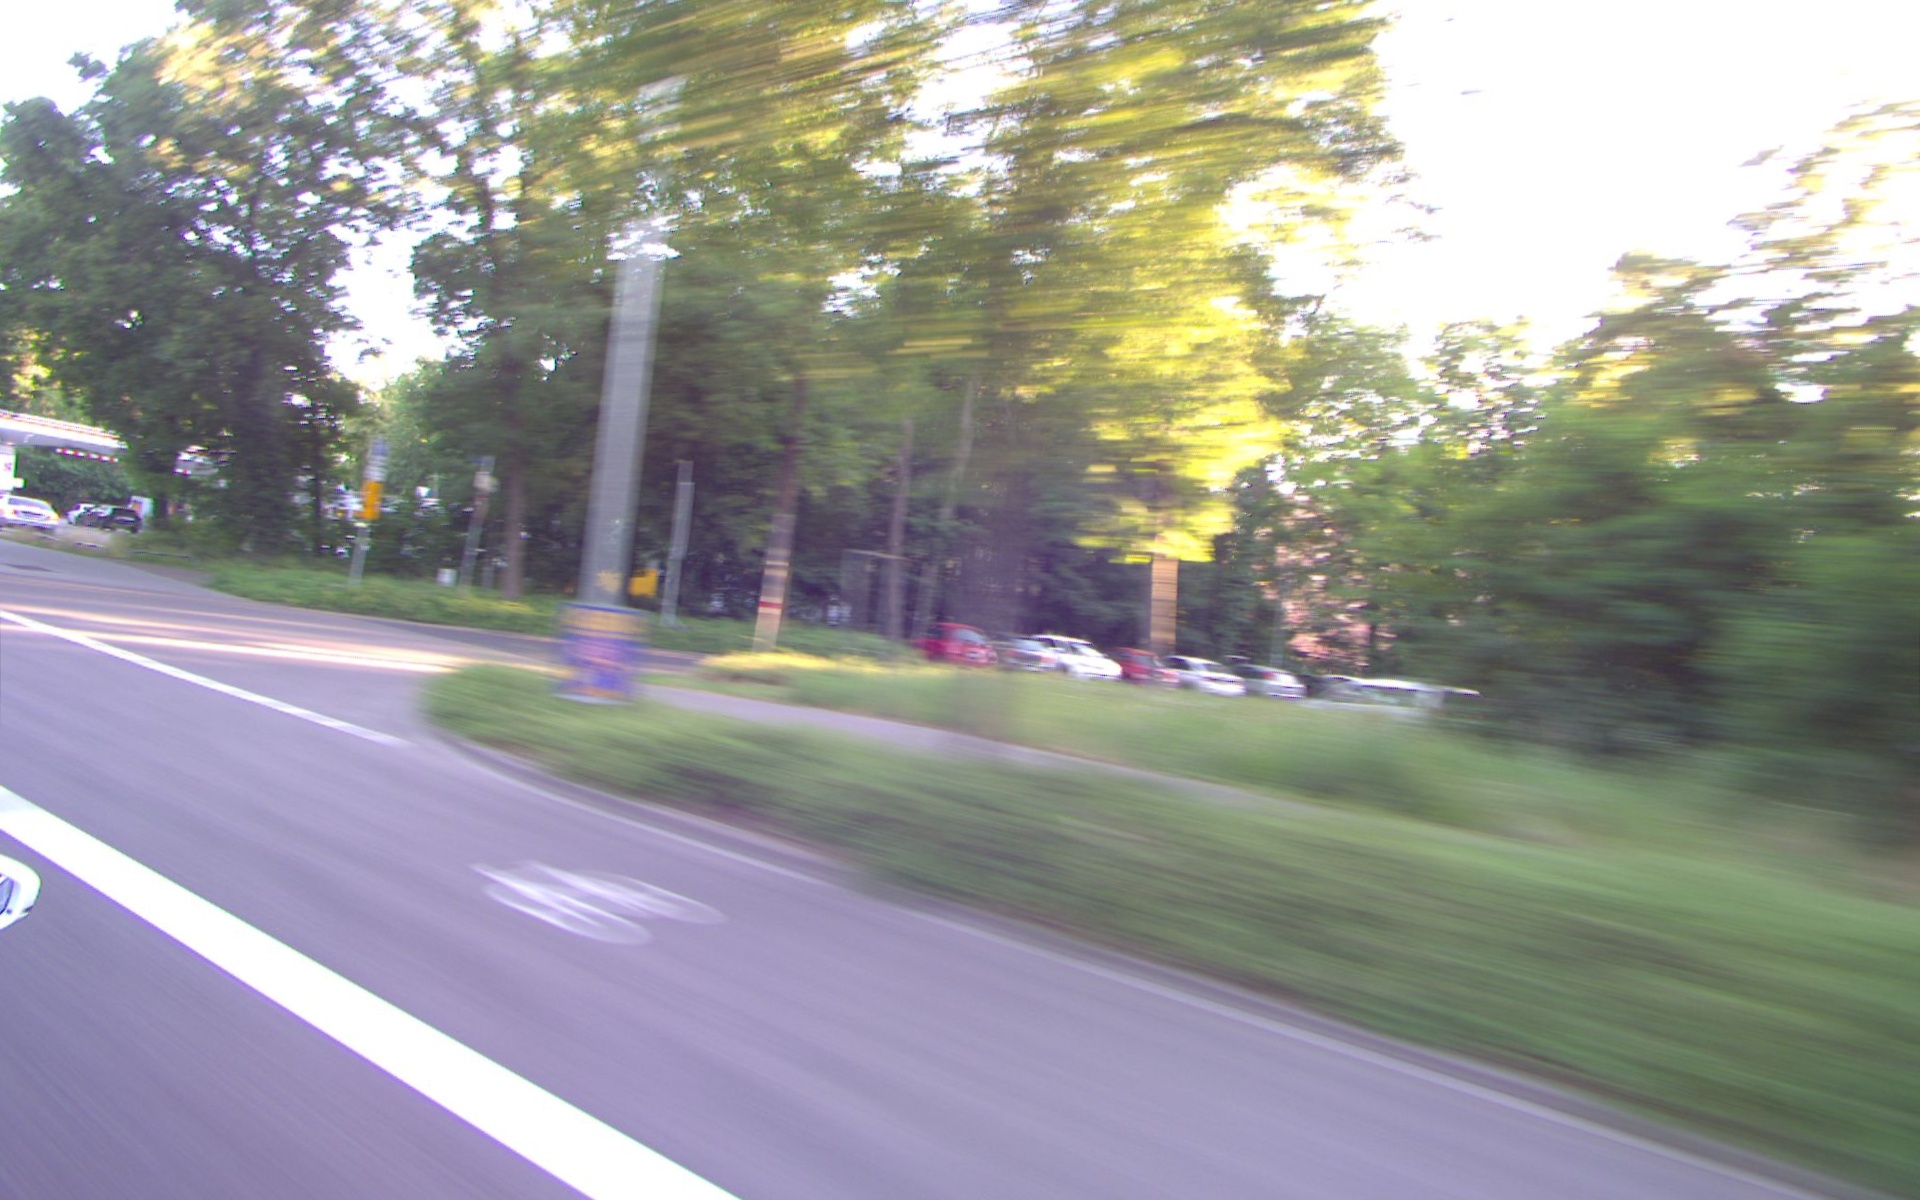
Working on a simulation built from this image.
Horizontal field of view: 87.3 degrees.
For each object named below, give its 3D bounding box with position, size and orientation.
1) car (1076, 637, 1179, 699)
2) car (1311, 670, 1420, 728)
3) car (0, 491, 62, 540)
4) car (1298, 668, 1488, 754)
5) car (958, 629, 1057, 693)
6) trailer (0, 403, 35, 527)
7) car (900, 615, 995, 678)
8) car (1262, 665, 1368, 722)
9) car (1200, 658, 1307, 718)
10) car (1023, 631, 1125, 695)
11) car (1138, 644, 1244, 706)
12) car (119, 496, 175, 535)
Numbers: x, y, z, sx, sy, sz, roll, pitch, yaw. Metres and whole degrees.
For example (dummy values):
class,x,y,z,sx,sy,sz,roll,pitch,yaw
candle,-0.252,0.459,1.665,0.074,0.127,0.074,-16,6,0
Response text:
class,x,y,z,sx,sy,sz,roll,pitch,yaw
car,5.788,2.337,35.119,1.522,1.667,3.818,7,-1,-25
car,16.273,3.964,40.590,1.522,1.667,3.969,7,0,-25
car,-38.370,-3.523,40.786,4.743,1.601,1.772,7,-2,35
car,10.182,2.584,23.957,1.524,1.413,3.971,7,-1,-28
car,1.500,1.958,33.122,1.522,1.604,3.818,7,-1,-25
trailer,-47.973,-6.743,48.022,7.800,5.528,3.026,7,0,30
car,-0.478,1.459,32.521,1.522,1.604,3.818,7,-1,-25
car,13.780,3.611,39.285,1.522,1.667,3.818,7,-1,-25
car,10.788,3.213,37.222,1.522,1.667,3.818,7,-1,-25
car,3.755,2.064,33.797,1.522,1.667,3.818,7,-1,-25
car,8.182,2.637,35.940,1.522,1.667,3.818,7,-1,-25
car,-58.956,-6.136,72.946,4.549,2.374,1.772,7,-2,35
